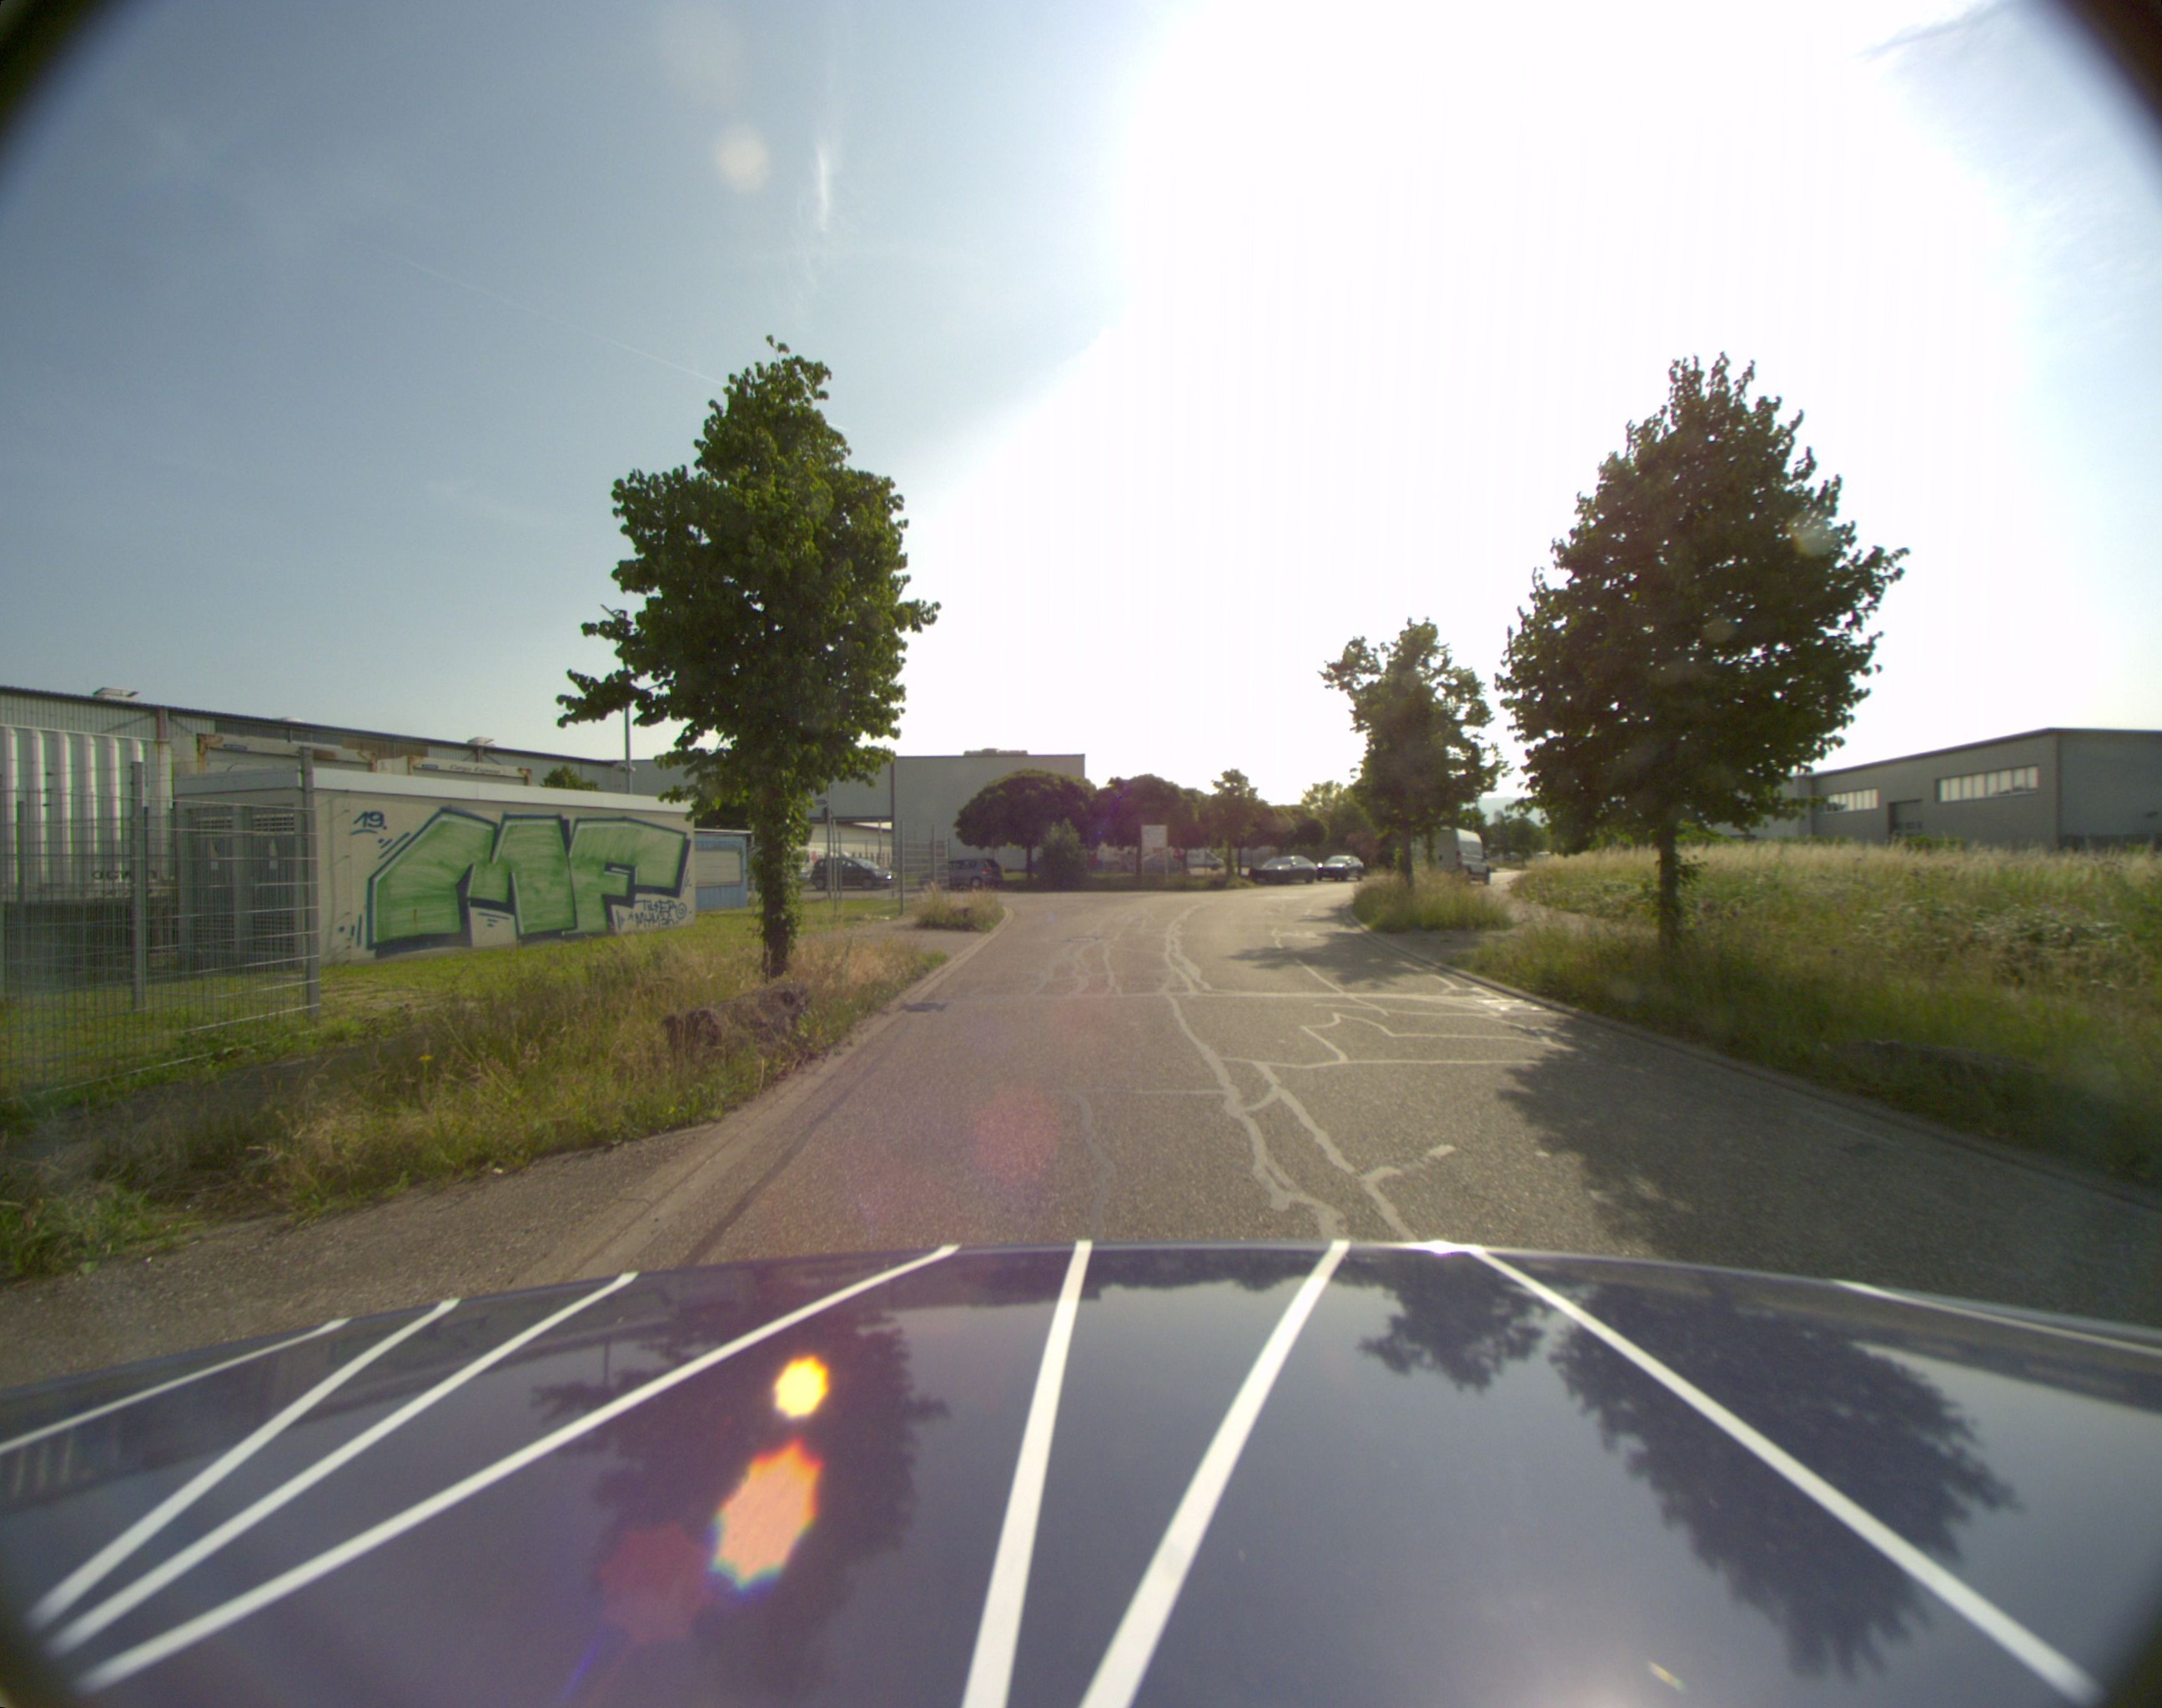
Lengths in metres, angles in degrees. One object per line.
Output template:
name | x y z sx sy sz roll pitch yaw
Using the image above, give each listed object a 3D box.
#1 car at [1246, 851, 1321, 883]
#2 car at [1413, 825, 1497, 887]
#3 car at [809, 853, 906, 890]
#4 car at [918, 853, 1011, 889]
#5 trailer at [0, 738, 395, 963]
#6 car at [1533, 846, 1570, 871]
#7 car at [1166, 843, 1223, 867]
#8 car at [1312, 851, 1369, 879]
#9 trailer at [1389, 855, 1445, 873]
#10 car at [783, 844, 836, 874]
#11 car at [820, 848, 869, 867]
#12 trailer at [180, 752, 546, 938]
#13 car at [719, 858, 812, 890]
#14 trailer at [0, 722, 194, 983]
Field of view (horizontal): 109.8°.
car | 11.241 0.689 41.874 1.881 1.565 5.129 2 2 42
car | 17.416 0.085 35.148 2.103 2.579 6.517 -1 0 38
car | -11.052 0.881 37.657 4.259 1.616 1.881 -3 -1 20
car | -5.538 0.805 36.091 3.952 1.515 1.729 -1 3 20
trailer | -18.671 -0.044 15.775 8.544 3.871 2.780 0 1 19
car | 33.336 0.321 53.789 1.598 1.641 3.652 -2 -1 41
car | 12.902 0.142 86.675 6.269 2.633 2.212 -1 0 0
car | 16.222 0.643 47.322 1.881 1.565 4.122 3 3 41
trailer | 26.603 0.747 59.961 1.939 1.229 7.467 2 1 40
car | -24.070 0.394 67.770 2.173 2.503 6.700 -1 1 1
car | -26.238 0.341 84.513 4.843 2.072 1.931 0 1 3
trailer | -17.586 -0.156 18.581 8.545 3.872 2.779 -1 2 20
car | -16.399 1.054 39.492 4.481 1.509 1.730 -1 3 22
trailer | -19.473 0.094 12.702 8.742 3.739 2.794 -2 1 18
